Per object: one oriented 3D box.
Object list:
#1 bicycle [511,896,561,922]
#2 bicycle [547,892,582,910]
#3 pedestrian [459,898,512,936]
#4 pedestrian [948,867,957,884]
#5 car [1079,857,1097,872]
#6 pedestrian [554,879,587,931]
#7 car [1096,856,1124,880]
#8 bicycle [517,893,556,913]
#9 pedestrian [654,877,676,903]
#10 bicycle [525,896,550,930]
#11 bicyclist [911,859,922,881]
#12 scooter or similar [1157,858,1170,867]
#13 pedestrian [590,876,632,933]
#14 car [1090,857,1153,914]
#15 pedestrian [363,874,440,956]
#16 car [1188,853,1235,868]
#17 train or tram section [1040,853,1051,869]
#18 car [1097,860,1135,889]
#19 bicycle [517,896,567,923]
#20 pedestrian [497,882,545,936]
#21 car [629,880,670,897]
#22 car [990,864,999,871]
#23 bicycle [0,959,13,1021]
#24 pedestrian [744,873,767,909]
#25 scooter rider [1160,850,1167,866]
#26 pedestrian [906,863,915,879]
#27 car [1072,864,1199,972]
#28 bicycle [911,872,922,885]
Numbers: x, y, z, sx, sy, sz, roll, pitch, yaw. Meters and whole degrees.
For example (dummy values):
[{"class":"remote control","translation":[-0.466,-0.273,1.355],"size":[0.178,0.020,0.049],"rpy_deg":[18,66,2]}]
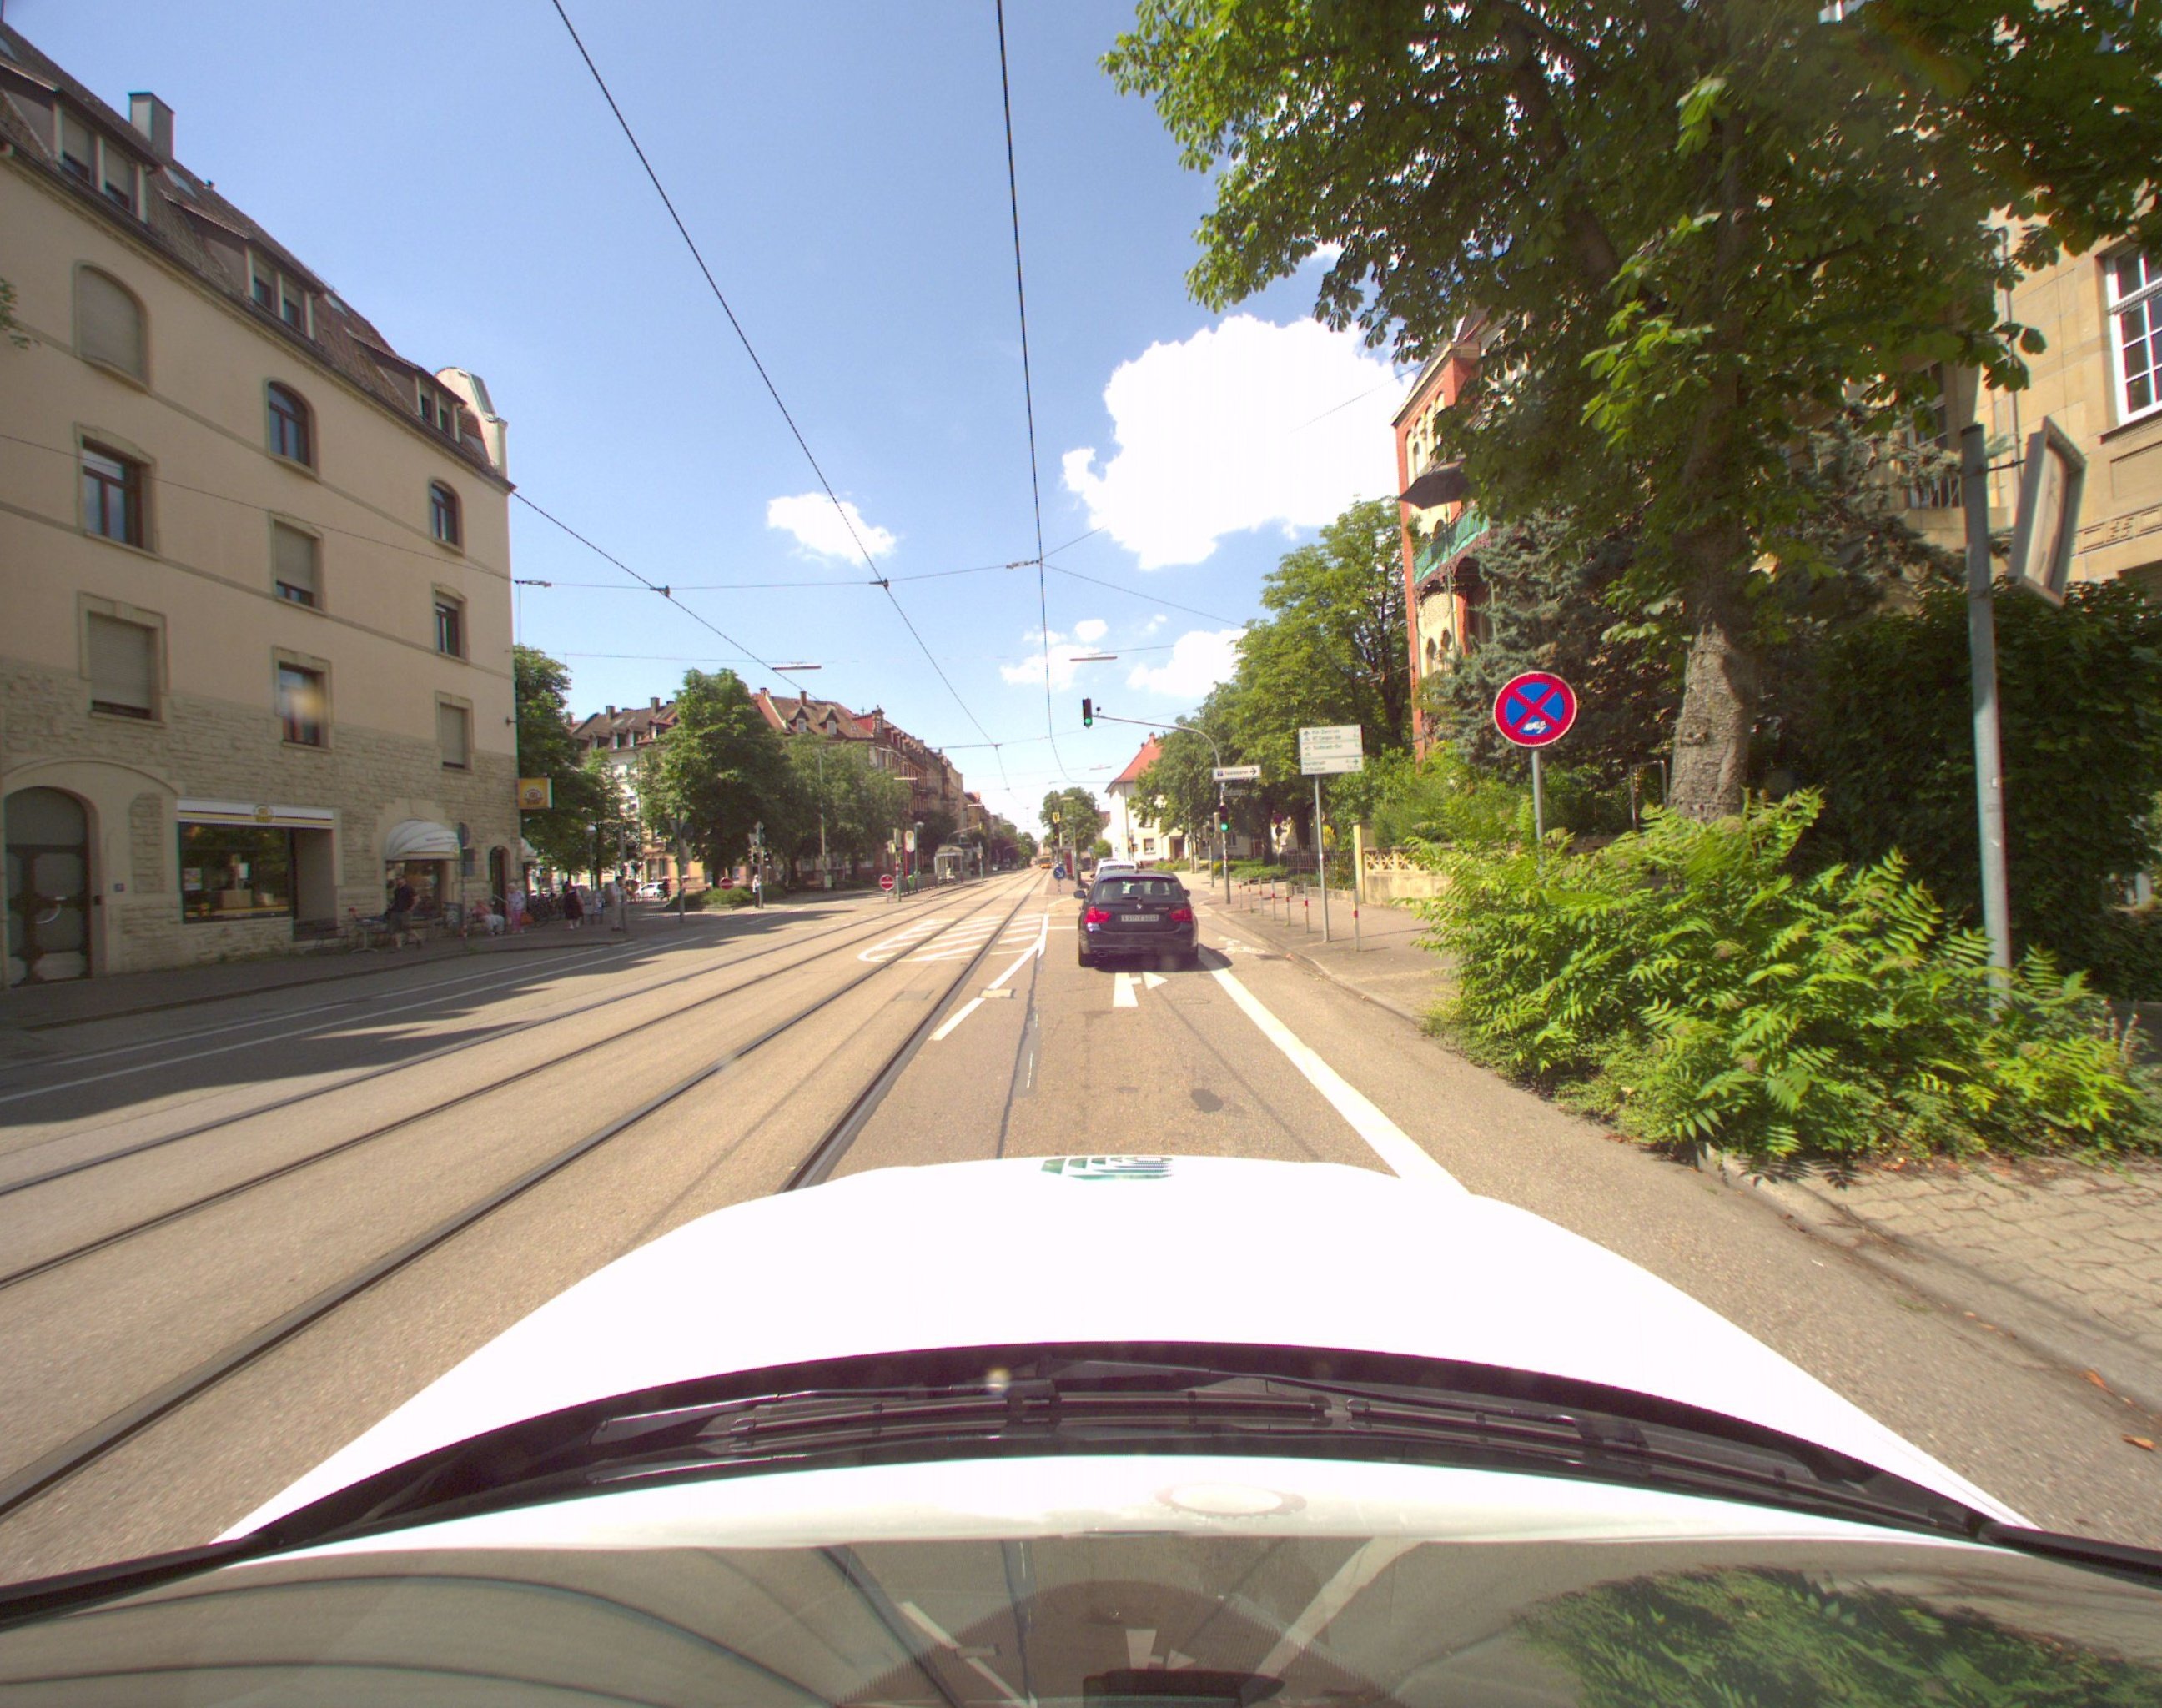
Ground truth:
[{"class":"bicycle","translation":[-24.209,2.437,36.204],"size":[0.537,1.032,1.743],"rpy_deg":[-3,-1,31]},{"class":"bicycle","translation":[-34.300,3.116,54.056],"size":[1.859,1.032,0.540],"rpy_deg":[-3,-1,-25]},{"class":"pedestrian","translation":[-18.294,1.927,25.029],"size":[0.913,1.077,0.882],"rpy_deg":[-3,0,-1]},{"class":"pedestrian","translation":[-9.552,1.587,60.615],"size":[0.613,1.243,0.626],"rpy_deg":[-3,-1,-8]},{"class":"car","translation":[0.995,1.415,111.075],"size":[1.991,1.849,3.992],"rpy_deg":[-3,0,-5]},{"class":"pedestrian","translation":[-17.032,1.693,27.188],"size":[0.866,1.635,1.016],"rpy_deg":[-3,-1,-31]},{"class":"car","translation":[1.966,0.969,55.873],"size":[1.686,1.514,3.820],"rpy_deg":[-3,0,0]},{"class":"bicycle","translation":[-33.041,2.978,49.426],"size":[1.859,1.032,0.540],"rpy_deg":[-3,-1,-25]},{"class":"pedestrian","translation":[-31.802,2.745,62.196],"size":[0.993,1.868,1.020],"rpy_deg":[-3,-1,11]},{"class":"bicycle","translation":[-18.991,2.057,28.449],"size":[0.547,1.128,1.663],"rpy_deg":[-2,-3,-39]},{"class":"bicyclist","translation":[-14.662,1.419,72.520],"size":[0.720,1.870,0.825],"rpy_deg":[-3,-1,-2]},{"class":"scooter or similar","translation":[9.088,0.939,89.671],"size":[1.311,0.837,0.525],"rpy_deg":[-3,-1,-8]},{"class":"pedestrian","translation":[-14.967,1.588,25.948],"size":[0.857,1.732,0.775],"rpy_deg":[-2,-1,0]},{"class":"car","translation":[1.206,0.888,24.494],"size":[1.678,1.484,3.686],"rpy_deg":[-3,0,2]},{"class":"pedestrian","translation":[-16.749,1.476,20.117],"size":[0.898,1.891,1.163],"rpy_deg":[-2,-1,-3]},{"class":"car","translation":[12.398,0.607,77.474],"size":[3.948,1.243,1.634],"rpy_deg":[-3,0,33]},{"class":"train or tram section","translation":[-8.410,1.701,193.739],"size":[2.185,3.482,8.837],"rpy_deg":[-3,0,-2]},{"class":"car","translation":[1.745,1.017,42.114],"size":[1.686,1.323,3.819],"rpy_deg":[-3,0,-1]},{"class":"bicycle","translation":[-23.678,2.415,35.789],"size":[0.537,1.032,1.743],"rpy_deg":[-3,-1,31]},{"class":"pedestrian","translation":[-17.665,1.713,25.712],"size":[0.805,1.594,0.918],"rpy_deg":[-3,-1,-3]},{"class":"car","translation":[-42.223,3.402,79.776],"size":[3.429,1.471,1.694],"rpy_deg":[-3,-1,23]},{"class":"car","translation":[-19.690,3.130,184.798],"size":[1.788,1.586,3.985],"rpy_deg":[-1,-1,-10]},{"class":"bicycle","translation":[-14.749,1.834,10.053],"size":[0.750,0.817,1.818],"rpy_deg":[-3,0,-3]},{"class":"pedestrian","translation":[-16.264,1.854,40.730],"size":[0.843,1.723,0.910],"rpy_deg":[-3,-1,-32]},{"class":"scooter rider","translation":[9.050,0.443,89.690],"size":[0.590,1.687,0.527],"rpy_deg":[-3,-1,-7]},{"class":"pedestrian","translation":[-19.148,1.925,91.410],"size":[0.632,1.811,0.745],"rpy_deg":[-3,-1,32]},{"class":"car","translation":[0.879,0.900,13.430],"size":[1.715,1.409,4.569],"rpy_deg":[-1,0,3]},{"class":"bicycle","translation":[-14.659,2.202,72.634],"size":[0.727,1.101,1.713],"rpy_deg":[-3,-1,-3]}]
